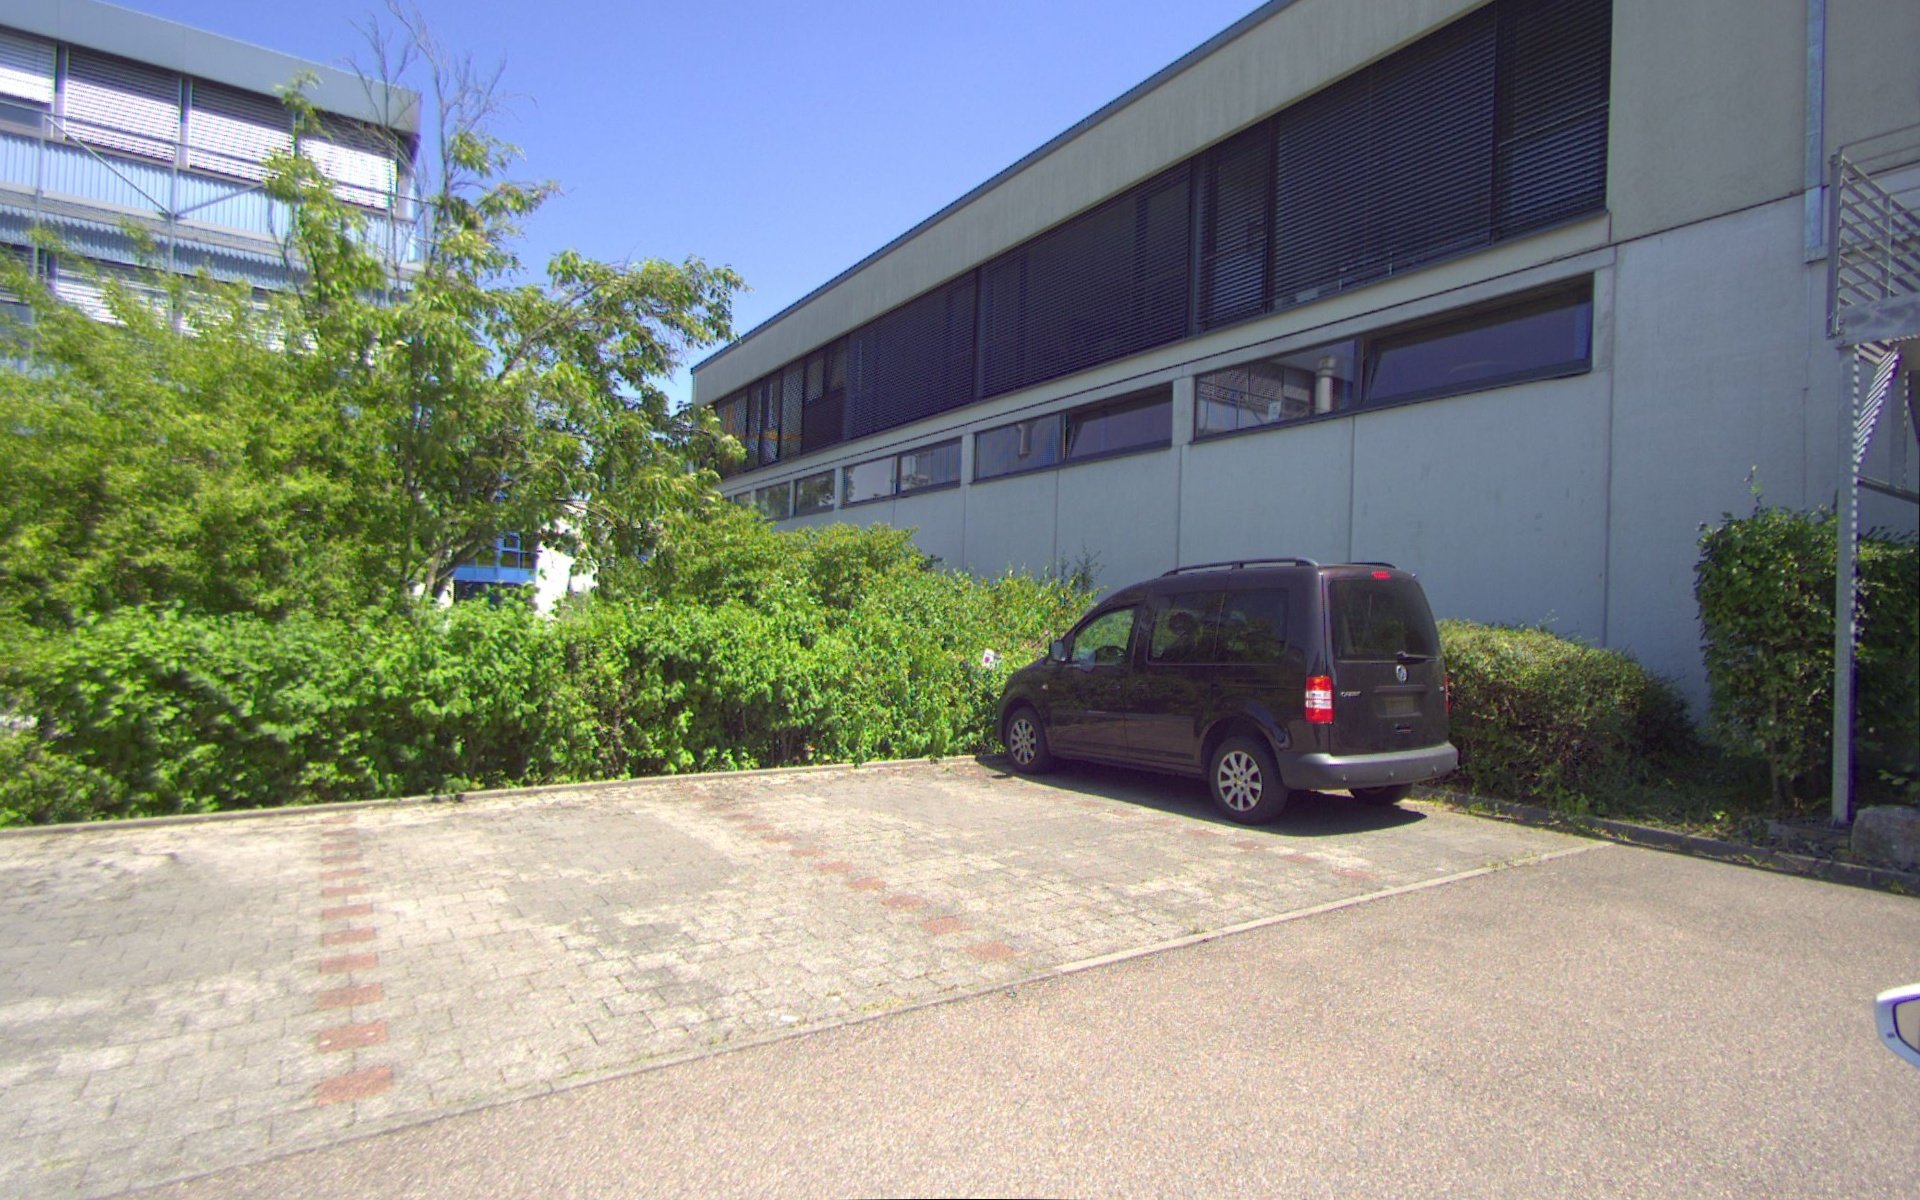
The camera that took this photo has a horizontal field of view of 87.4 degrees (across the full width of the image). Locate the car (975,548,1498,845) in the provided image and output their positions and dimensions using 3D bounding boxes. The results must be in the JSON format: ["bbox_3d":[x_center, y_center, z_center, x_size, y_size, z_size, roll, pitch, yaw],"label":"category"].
[{"bbox_3d":[2.067,0.642,8.659,1.849,1.884,4.190,1,-1,-33],"label":"car"}]
